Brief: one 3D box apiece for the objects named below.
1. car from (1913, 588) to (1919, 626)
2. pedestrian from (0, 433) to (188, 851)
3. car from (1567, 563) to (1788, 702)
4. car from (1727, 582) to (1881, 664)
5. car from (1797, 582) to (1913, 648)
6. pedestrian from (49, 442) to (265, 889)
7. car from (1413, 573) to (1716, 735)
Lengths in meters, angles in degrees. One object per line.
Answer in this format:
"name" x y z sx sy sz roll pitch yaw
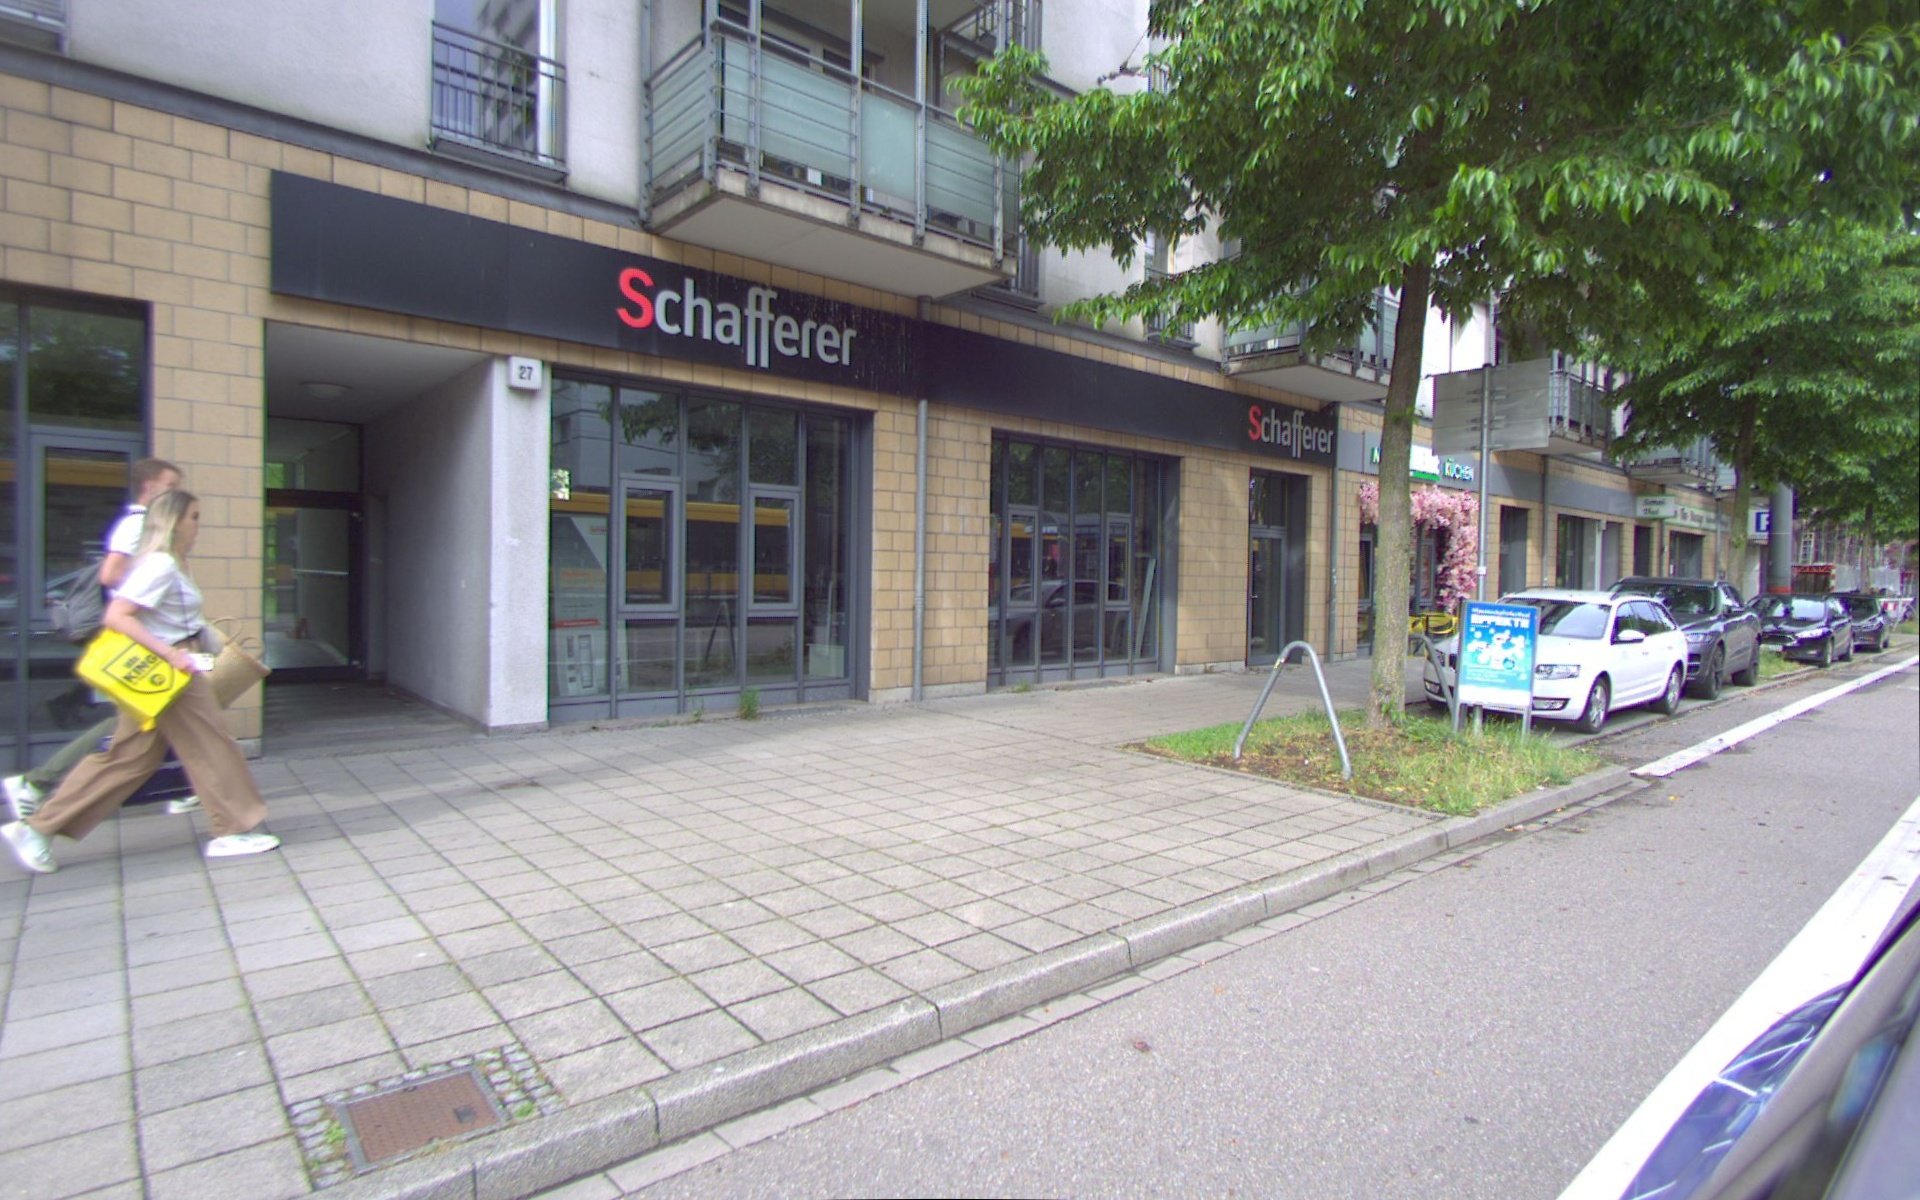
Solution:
"car" 39.384 0.285 40.226 4.206 1.478 1.754 -1 4 -42
"pedestrian" -4.359 0.181 5.105 0.724 1.914 0.677 0 2 -39
"car" 10.974 0.370 15.348 4.632 1.737 1.715 -1 4 -43
"car" 17.853 0.403 21.336 4.329 1.459 1.681 -1 4 -40
"car" 23.419 0.321 26.429 4.315 1.472 1.800 -1 5 -43
"pedestrian" -3.627 0.257 4.597 0.724 1.828 0.617 0 2 -39
"car" 7.266 0.497 11.991 4.312 1.517 1.681 -1 4 -40
